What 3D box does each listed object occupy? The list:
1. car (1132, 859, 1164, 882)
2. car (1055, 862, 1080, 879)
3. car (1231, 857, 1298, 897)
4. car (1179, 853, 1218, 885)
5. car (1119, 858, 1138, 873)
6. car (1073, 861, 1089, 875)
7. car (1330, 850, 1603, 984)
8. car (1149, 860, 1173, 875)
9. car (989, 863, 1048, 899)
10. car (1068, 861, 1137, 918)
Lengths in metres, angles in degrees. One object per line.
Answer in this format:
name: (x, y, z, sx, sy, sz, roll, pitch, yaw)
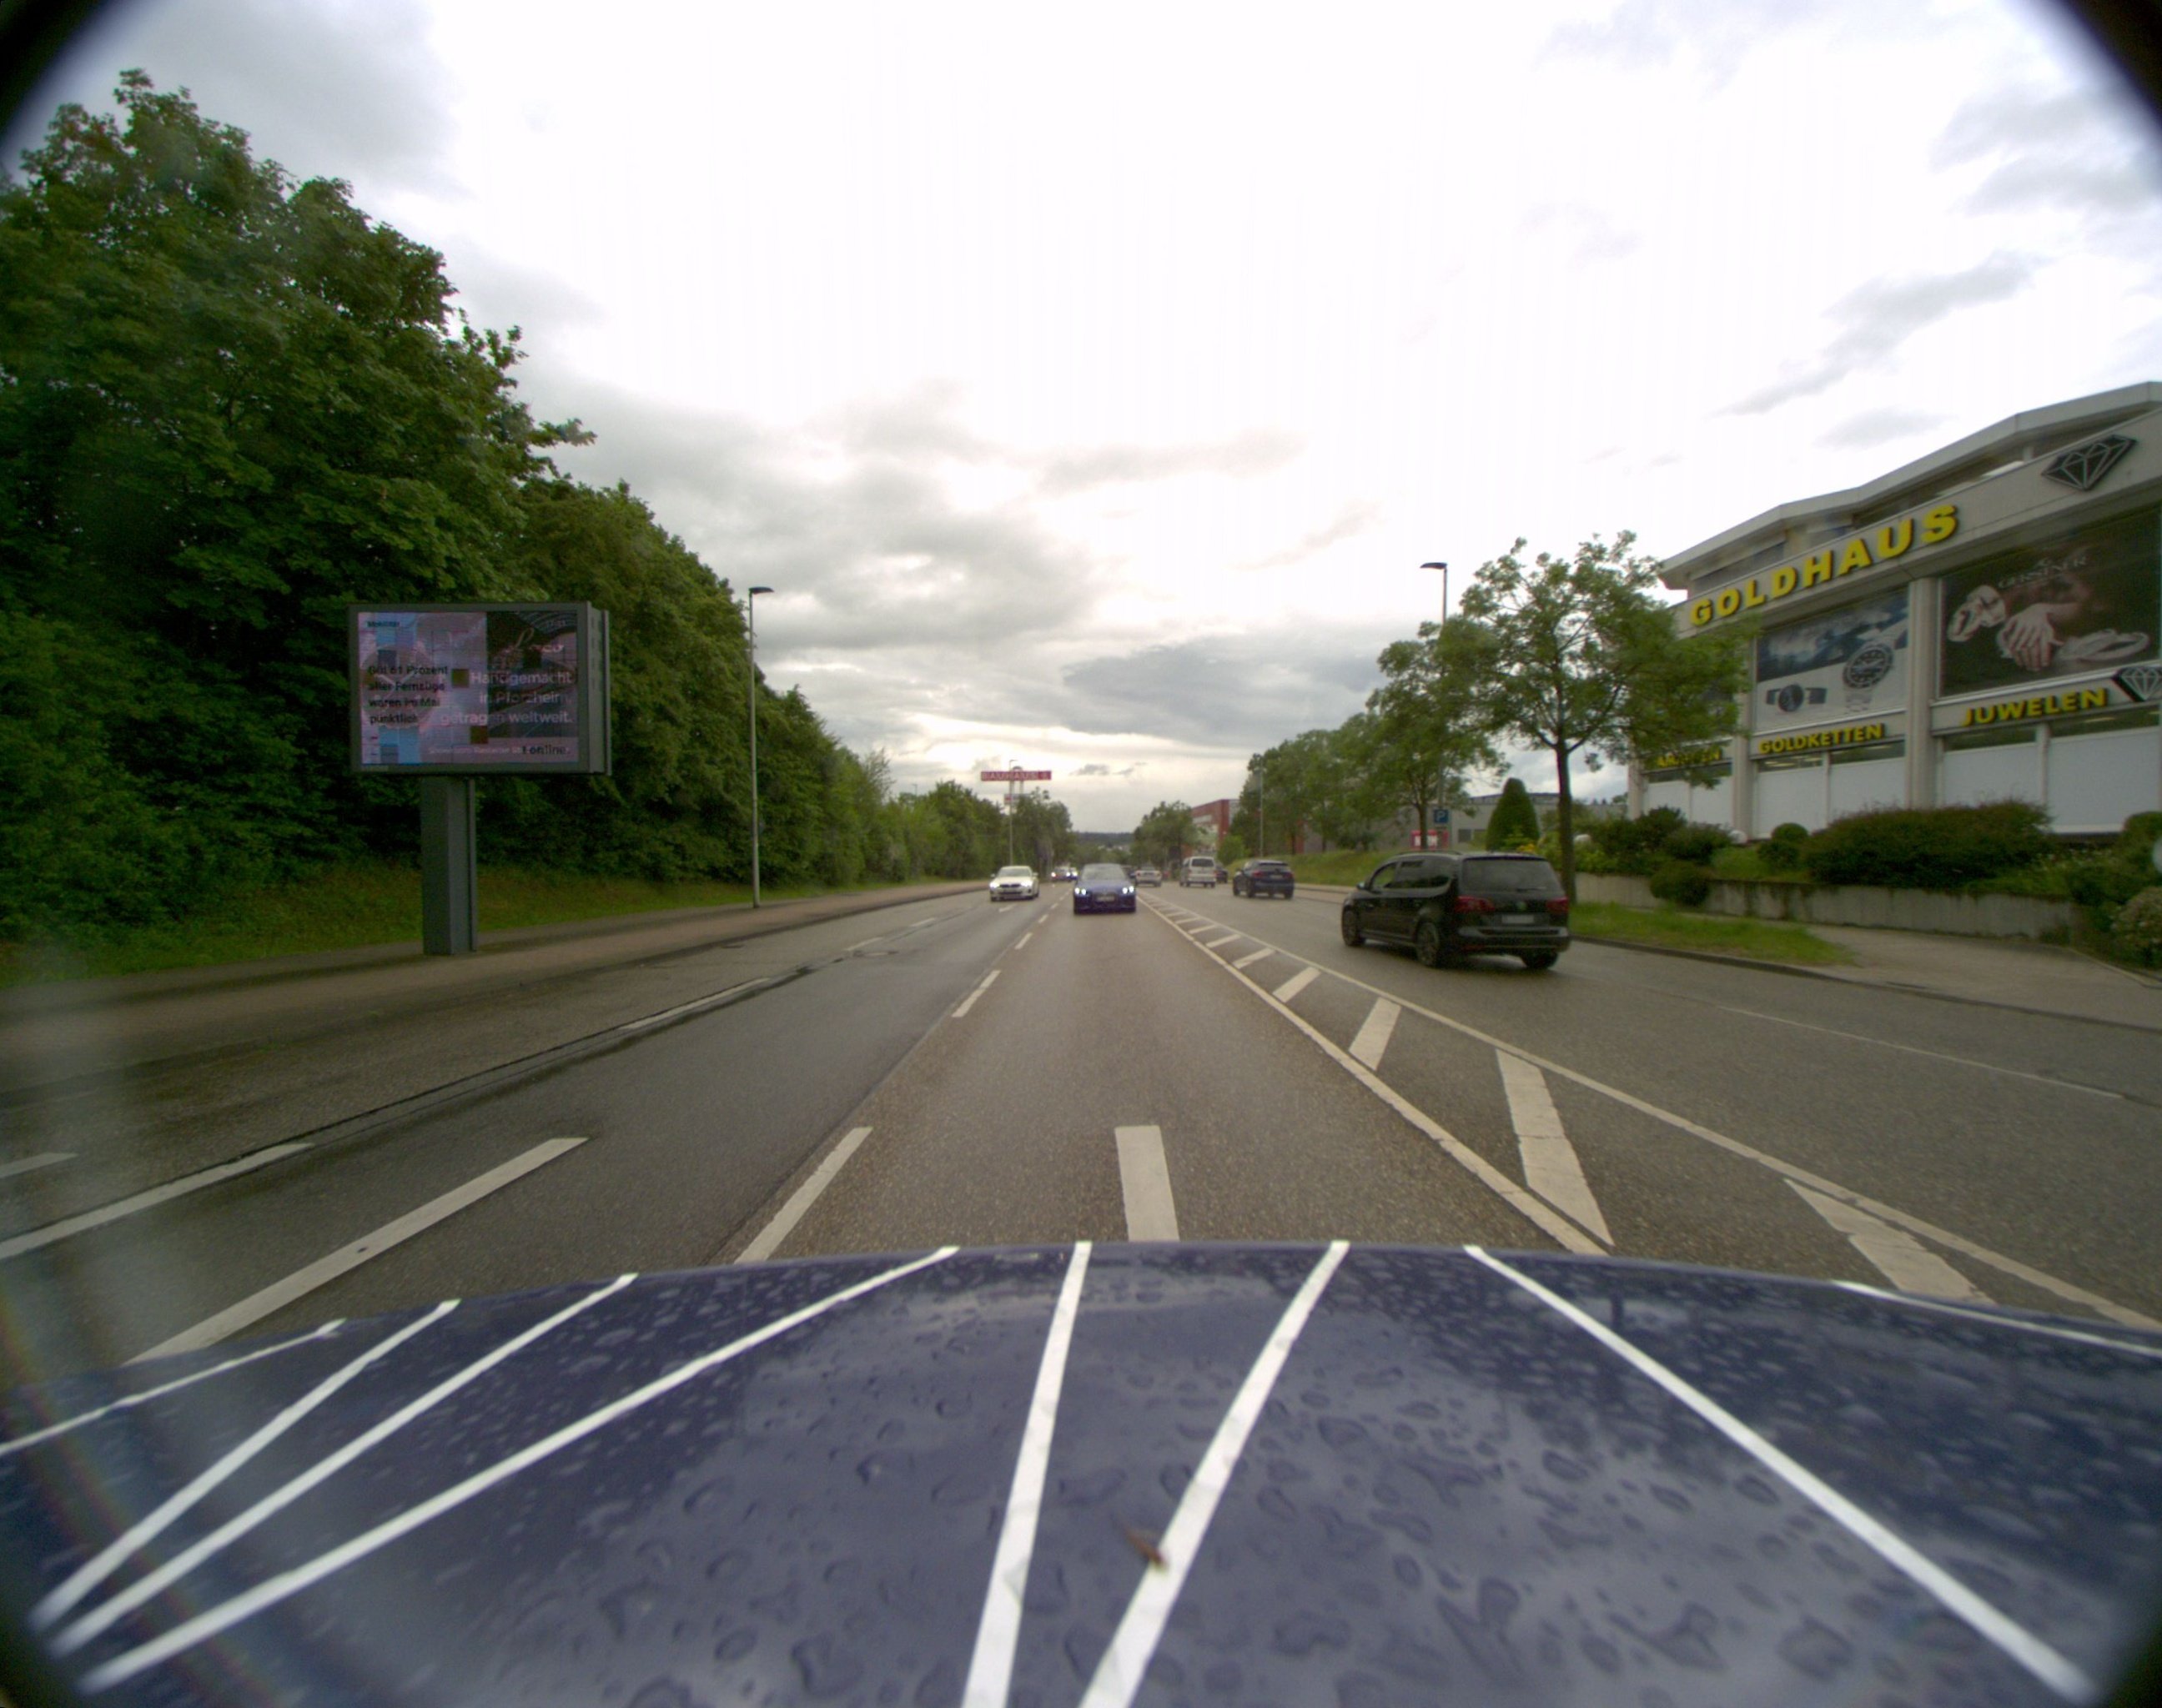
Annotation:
car: (4.338, 1.065, 49.805, 1.671, 1.390, 3.999, 1, 0, -1)
car: (-1.295, 1.639, 74.685, 2.113, 1.609, 4.842, -1, -1, 3)
car: (7.947, 0.935, 33.297, 1.756, 1.601, 4.532, 1, 0, -1)
car: (7.810, 0.961, 50.921, 1.800, 1.971, 4.898, 1, 0, 0)
car: (5.167, 1.264, 82.885, 1.827, 1.598, 4.284, 1, 0, 1)
car: (0.013, 1.727, 94.158, 1.853, 1.565, 4.000, -2, 0, 0)
car: (5.490, 0.785, 11.528, 1.761, 1.667, 4.146, 1, 0, -4)
car: (8.268, 1.376, 78.438, 1.798, 1.393, 4.299, 1, 0, -3)
car: (-2.648, 1.141, 33.268, 1.863, 1.473, 4.002, -1, -1, 6)
car: (0.734, 0.997, 23.199, 1.827, 1.473, 4.841, -2, 0, 3)
